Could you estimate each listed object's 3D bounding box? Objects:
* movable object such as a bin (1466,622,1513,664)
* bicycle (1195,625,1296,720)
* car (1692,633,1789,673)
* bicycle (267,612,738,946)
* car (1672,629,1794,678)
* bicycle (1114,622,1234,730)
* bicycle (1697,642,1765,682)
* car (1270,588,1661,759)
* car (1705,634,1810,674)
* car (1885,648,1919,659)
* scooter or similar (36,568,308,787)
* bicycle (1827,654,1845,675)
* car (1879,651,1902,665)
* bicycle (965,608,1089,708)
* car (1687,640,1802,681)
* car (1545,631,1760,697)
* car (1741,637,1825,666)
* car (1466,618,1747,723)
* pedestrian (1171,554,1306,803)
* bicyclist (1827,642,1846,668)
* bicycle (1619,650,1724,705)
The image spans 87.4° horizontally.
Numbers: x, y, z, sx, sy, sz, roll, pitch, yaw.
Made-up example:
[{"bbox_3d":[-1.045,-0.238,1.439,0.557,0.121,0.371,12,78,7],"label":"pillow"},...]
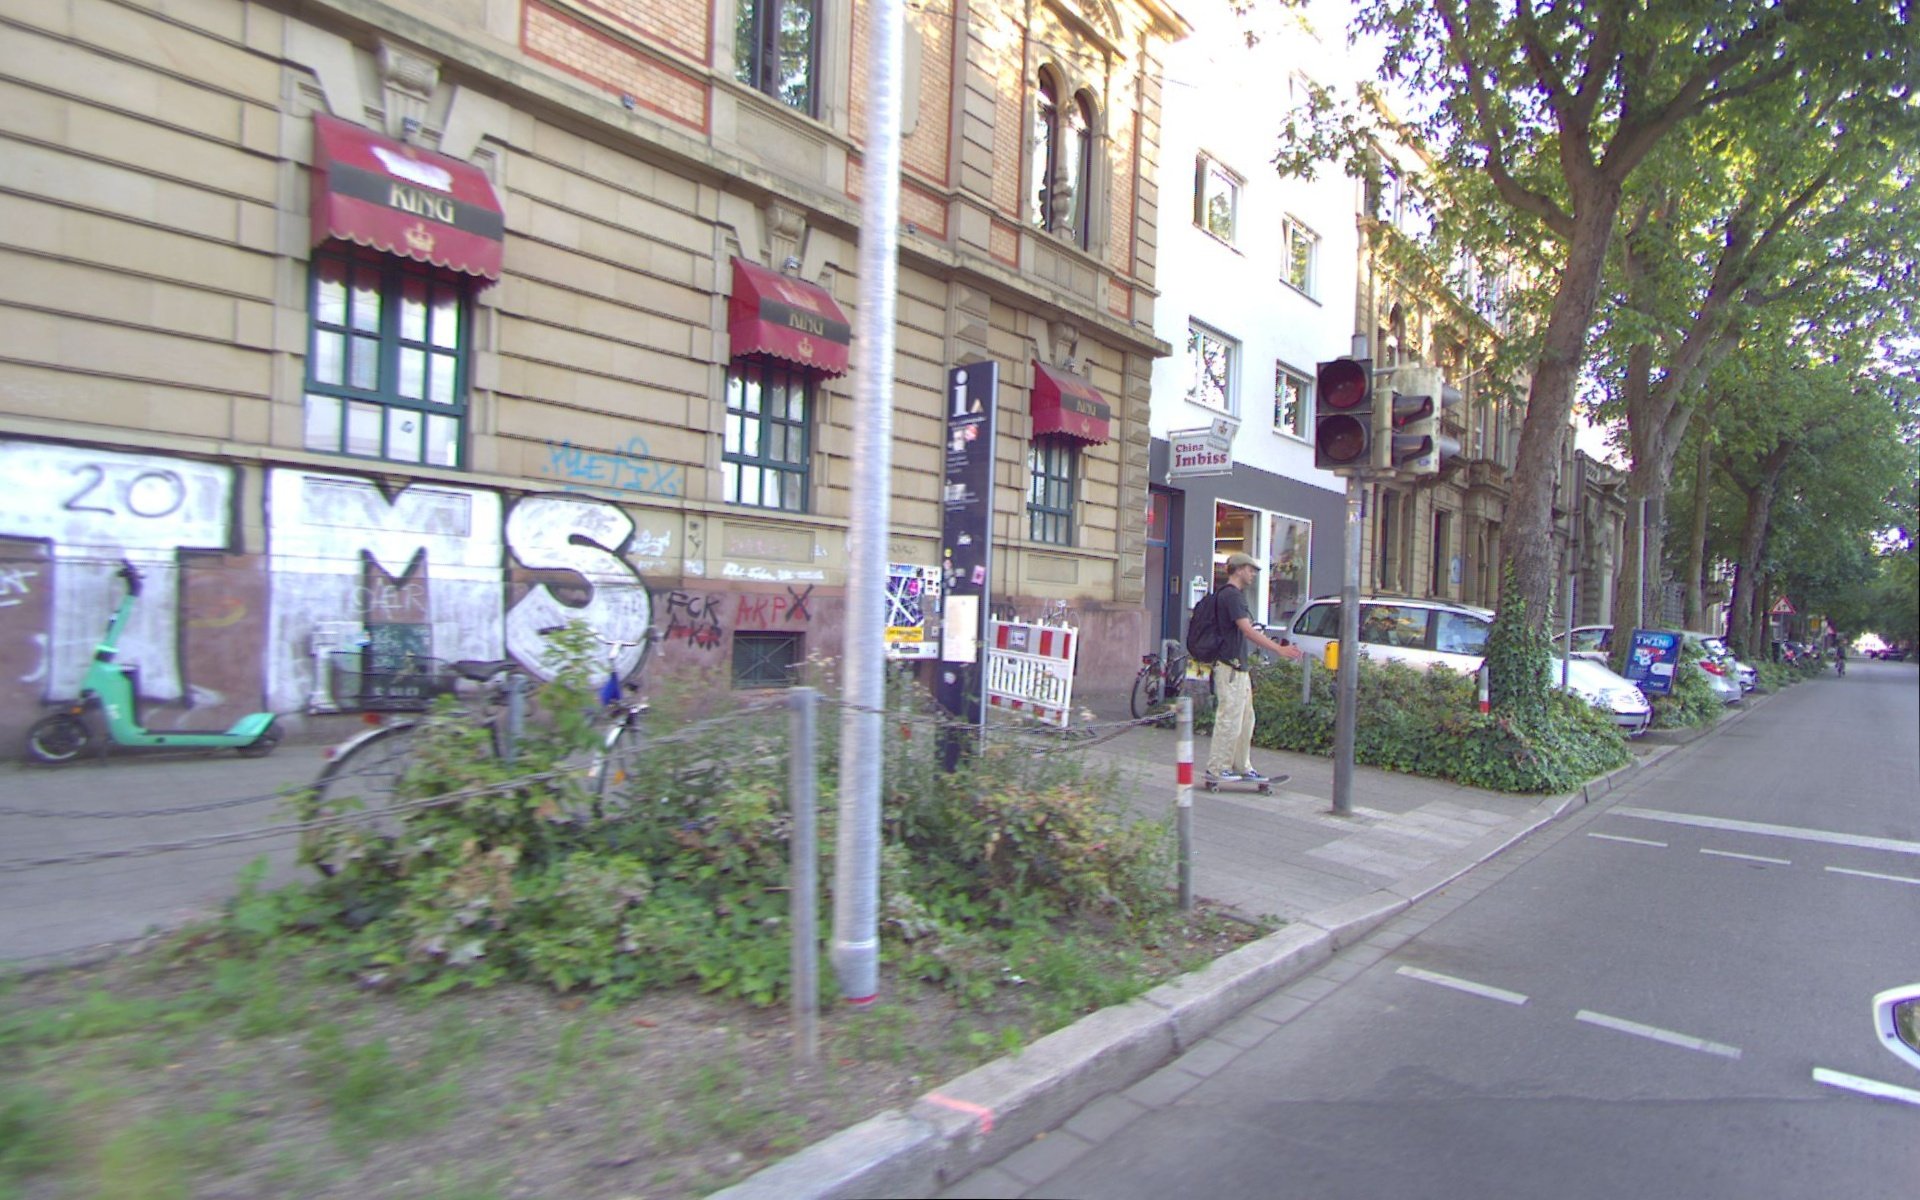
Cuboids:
[{"bbox_3d":[14.546,1.182,27.565,0.791,1.076,1.310,5,1,41],"label":"movable object such as a bin"},{"bbox_3d":[3.760,0.917,13.128,0.493,1.122,1.791,5,2,41],"label":"bicycle"},{"bbox_3d":[39.839,2.688,51.291,3.757,1.694,1.705,4,1,42],"label":"car"},{"bbox_3d":[-1.844,0.649,4.340,0.492,1.122,1.794,5,1,36],"label":"bicycle"},{"bbox_3d":[33.470,2.300,43.543,3.922,1.618,1.771,7,3,43],"label":"car"},{"bbox_3d":[2.518,0.852,11.675,0.493,1.122,1.791,5,2,41],"label":"bicycle"},{"bbox_3d":[26.418,2.110,34.448,0.496,1.248,1.755,4,-1,-42],"label":"bicycle"},{"bbox_3d":[6.765,0.860,13.718,4.373,1.745,1.882,5,1,41],"label":"car"},{"bbox_3d":[41.779,2.784,52.660,4.155,1.694,1.897,4,1,43],"label":"car"},{"bbox_3d":[149.131,8.505,158.867,4.221,1.586,1.952,-1,-3,43],"label":"car"},{"bbox_3d":[-4.829,0.436,6.209,0.380,1.214,1.266,5,3,42],"label":"scooter or similar"},{"bbox_3d":[44.615,3.297,51.147,0.664,1.007,1.749,1,-1,42],"label":"bicycle"},{"bbox_3d":[113.215,7.073,122.210,1.935,1.586,4.260,0,-3,42],"label":"car"},{"bbox_3d":[0.860,0.706,12.499,0.493,1.122,1.791,5,2,41],"label":"bicycle"},{"bbox_3d":[35.701,2.717,45.763,3.922,1.405,1.754,6,3,44],"label":"car"},{"bbox_3d":[18.475,1.666,26.936,4.466,1.408,1.905,2,-1,45],"label":"car"},{"bbox_3d":[57.847,3.589,70.629,4.378,1.673,1.862,4,1,44],"label":"car"},{"bbox_3d":[12.049,1.240,18.892,1.815,1.577,4.128,3,0,-45],"label":"car"},{"bbox_3d":[2.147,0.570,7.845,0.814,1.801,0.767,3,2,7],"label":"pedestrian"},{"bbox_3d":[44.635,2.784,51.148,0.665,1.280,0.644,1,-1,43],"label":"bicyclist"},{"bbox_3d":[15.545,1.682,21.971,1.775,1.022,0.595,3,0,43],"label":"bicycle"}]
